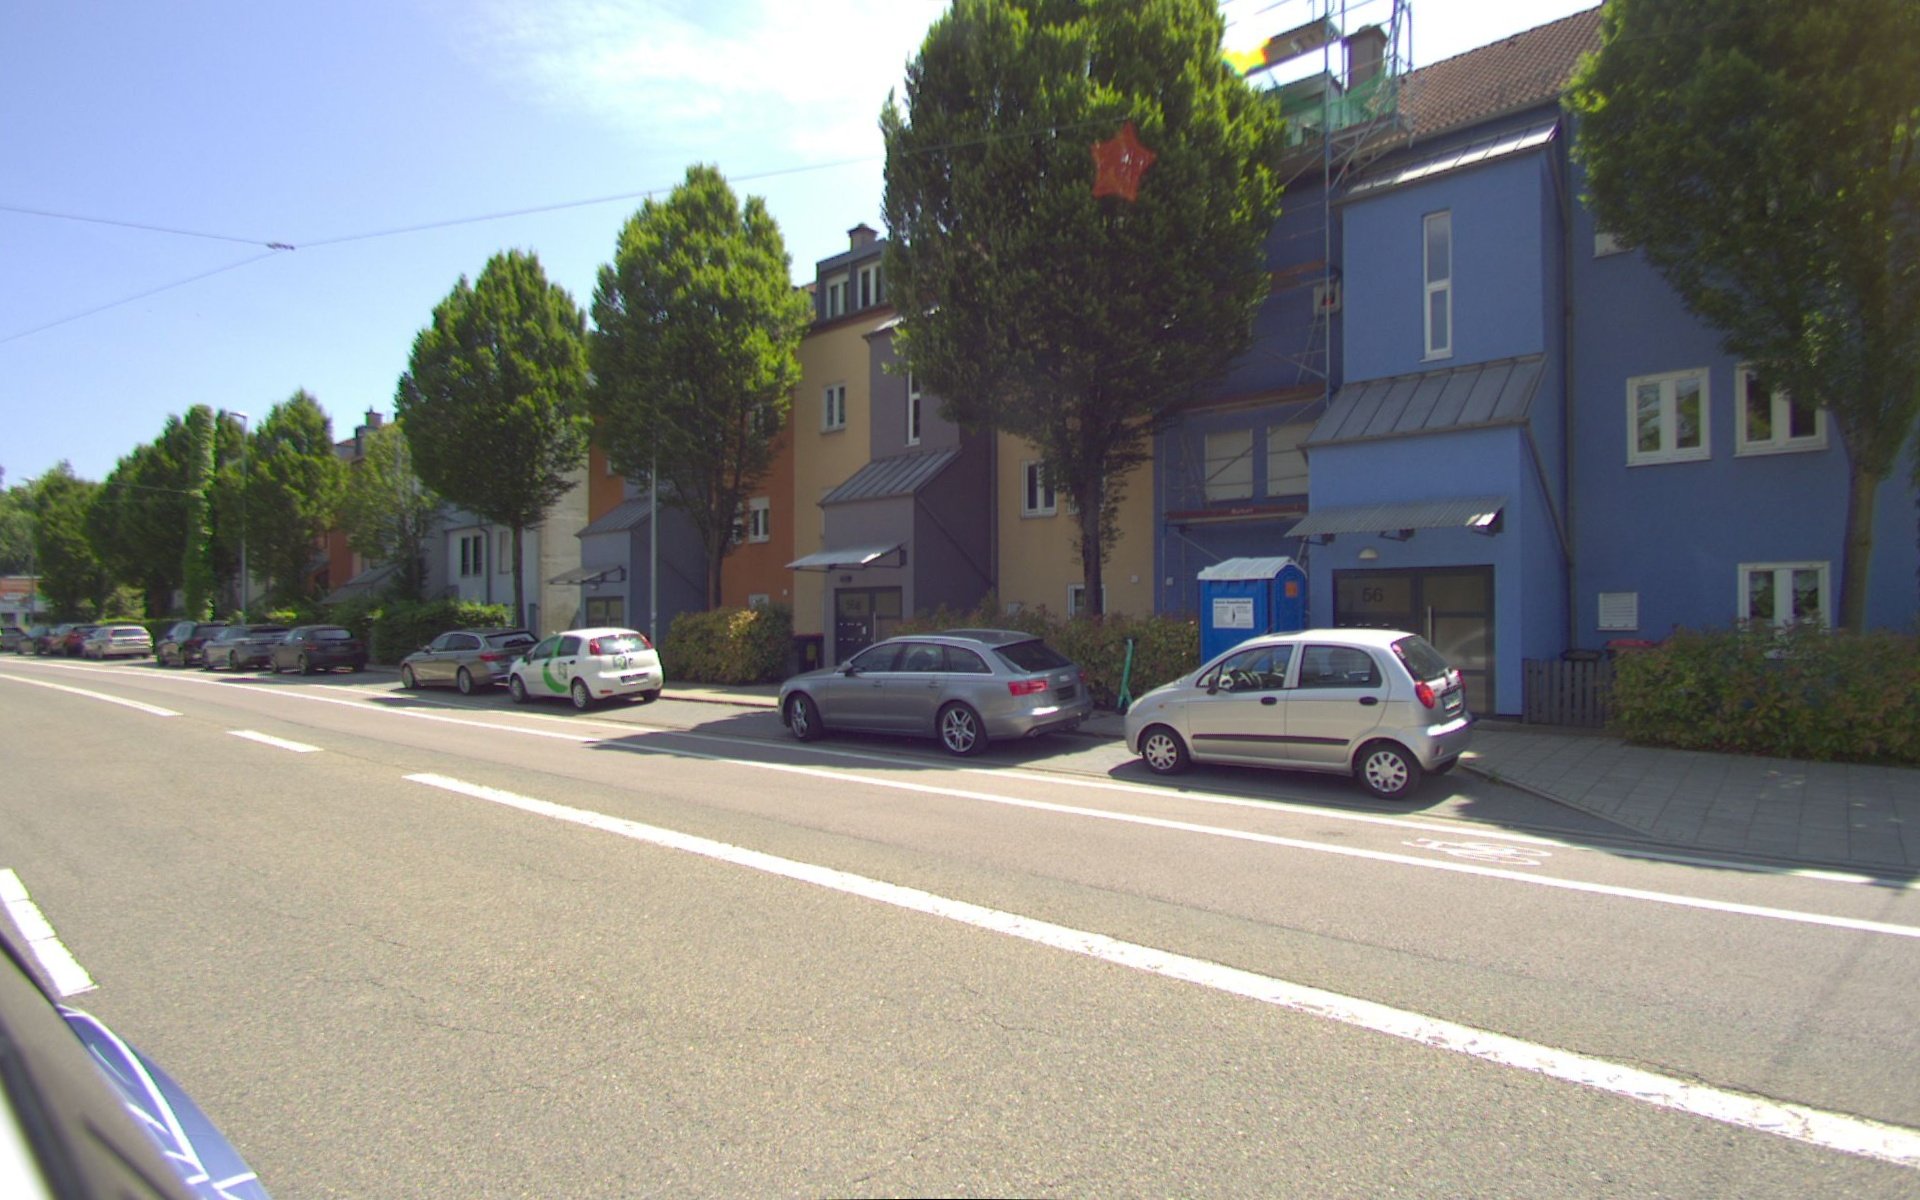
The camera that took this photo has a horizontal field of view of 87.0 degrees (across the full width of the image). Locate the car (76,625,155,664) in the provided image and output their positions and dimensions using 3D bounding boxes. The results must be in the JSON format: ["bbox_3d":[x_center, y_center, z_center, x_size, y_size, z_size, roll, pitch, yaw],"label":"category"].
[{"bbox_3d":[-37.882,1.971,45.354,4.490,1.594,1.822,-2,0,38],"label":"car"}]

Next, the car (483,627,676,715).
[{"bbox_3d":[-7.832,1.368,20.625,4.418,1.453,1.728,-2,3,41],"label":"car"}]

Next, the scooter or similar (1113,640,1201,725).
[{"bbox_3d":[2.811,1.156,14.503,1.183,1.154,0.449,-2,-2,43],"label":"scooter or similar"}]

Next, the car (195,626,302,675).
[{"bbox_3d":[-24.447,1.701,34.713,4.752,1.507,1.807,-2,0,39],"label":"car"}]

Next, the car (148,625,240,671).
[{"bbox_3d":[-29.014,1.782,38.321,4.142,1.601,1.750,-2,0,38],"label":"car"}]

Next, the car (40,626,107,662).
[{"bbox_3d":[-42.725,2.103,48.741,3.673,1.606,1.586,-2,0,35],"label":"car"}]

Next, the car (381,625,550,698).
[{"bbox_3d":[-11.918,1.425,24.261,4.744,1.440,1.688,-2,3,38],"label":"car"}]

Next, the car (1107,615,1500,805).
[{"bbox_3d":[3.441,0.995,10.436,3.447,1.506,1.577,-2,3,41],"label":"car"}]

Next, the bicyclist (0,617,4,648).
[{"bbox_3d":[-46.360,1.543,48.468,0.736,1.516,0.728,0,-3,42],"label":"bicyclist"}]

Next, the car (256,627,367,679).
[{"bbox_3d":[-20.236,1.599,31.507,4.254,1.443,1.732,-1,0,40],"label":"car"}]

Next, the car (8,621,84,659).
[{"bbox_3d":[-46.874,2.025,51.902,4.549,1.808,1.976,-1,-1,36],"label":"car"}]

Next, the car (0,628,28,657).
[{"bbox_3d":[-54.253,2.416,56.960,4.135,1.549,1.848,-2,0,36],"label":"car"}]

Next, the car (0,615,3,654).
[{"bbox_3d":[-59.347,2.125,60.266,5.213,2.325,2.260,-2,0,33],"label":"car"}]

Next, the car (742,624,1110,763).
[{"bbox_3d":[-0.639,1.163,13.871,5.129,1.461,1.769,-2,2,40],"label":"car"}]

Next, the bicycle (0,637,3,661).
[{"bbox_3d":[-46.393,2.344,48.449,1.638,1.104,0.633,0,-3,42],"label":"bicycle"}]
